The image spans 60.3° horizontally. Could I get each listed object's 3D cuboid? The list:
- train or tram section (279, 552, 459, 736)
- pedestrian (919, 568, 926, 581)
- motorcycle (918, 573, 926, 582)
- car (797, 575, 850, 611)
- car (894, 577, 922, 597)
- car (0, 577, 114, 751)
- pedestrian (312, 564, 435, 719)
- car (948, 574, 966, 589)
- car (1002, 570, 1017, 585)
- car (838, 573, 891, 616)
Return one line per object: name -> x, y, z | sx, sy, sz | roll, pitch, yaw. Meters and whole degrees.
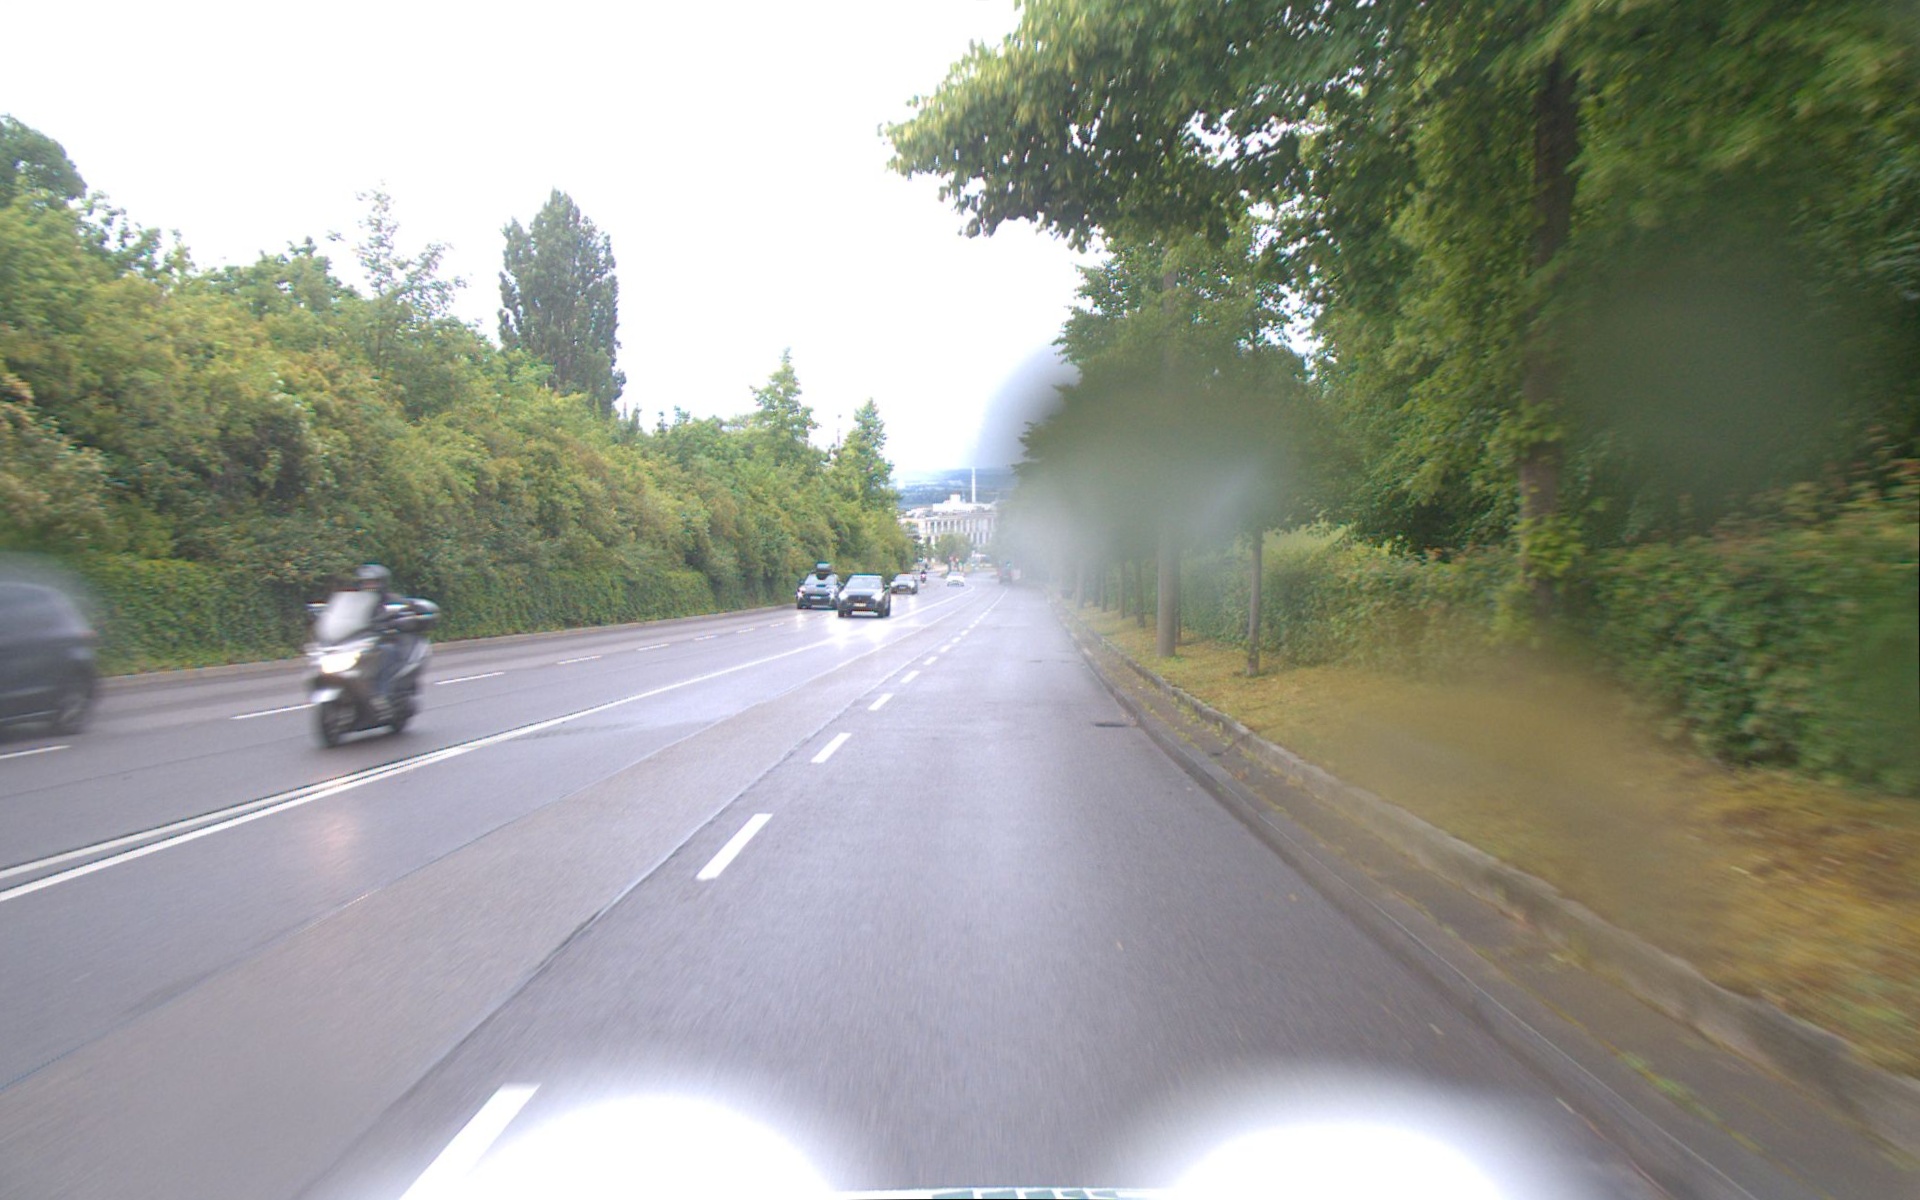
train or tram section -> -5.586, 0.380, 15.815 | 0.774, 1.597, 2.384 | 2, 0, 1
pedestrian -> -4.631, -3.086, 203.009 | 0.788, 1.568, 1.112 | 1, 1, 2
motorcycle -> -4.637, -2.739, 202.994 | 0.788, 1.151, 2.232 | 1, 1, 2
car -> -6.401, -0.348, 78.120 | 1.859, 1.580, 4.632 | 2, 1, 3
car -> -3.912, -0.997, 124.098 | 1.723, 1.405, 4.840 | 2, 2, 2
car -> -8.830, 0.531, 13.827 | 1.516, 1.462, 3.697 | 1, 0, 2
pedestrian -> -5.592, 0.380, 15.813 | 0.774, 1.408, 0.975 | 2, 0, 1
car -> -0.284, -1.978, 177.658 | 1.679, 1.531, 4.518 | 2, 1, 2
car -> 6.187, -2.794, 207.613 | 1.811, 1.731, 3.794 | 2, 0, 2
car -> -3.910, -0.234, 68.272 | 1.774, 1.686, 4.596 | 1, 1, 2
